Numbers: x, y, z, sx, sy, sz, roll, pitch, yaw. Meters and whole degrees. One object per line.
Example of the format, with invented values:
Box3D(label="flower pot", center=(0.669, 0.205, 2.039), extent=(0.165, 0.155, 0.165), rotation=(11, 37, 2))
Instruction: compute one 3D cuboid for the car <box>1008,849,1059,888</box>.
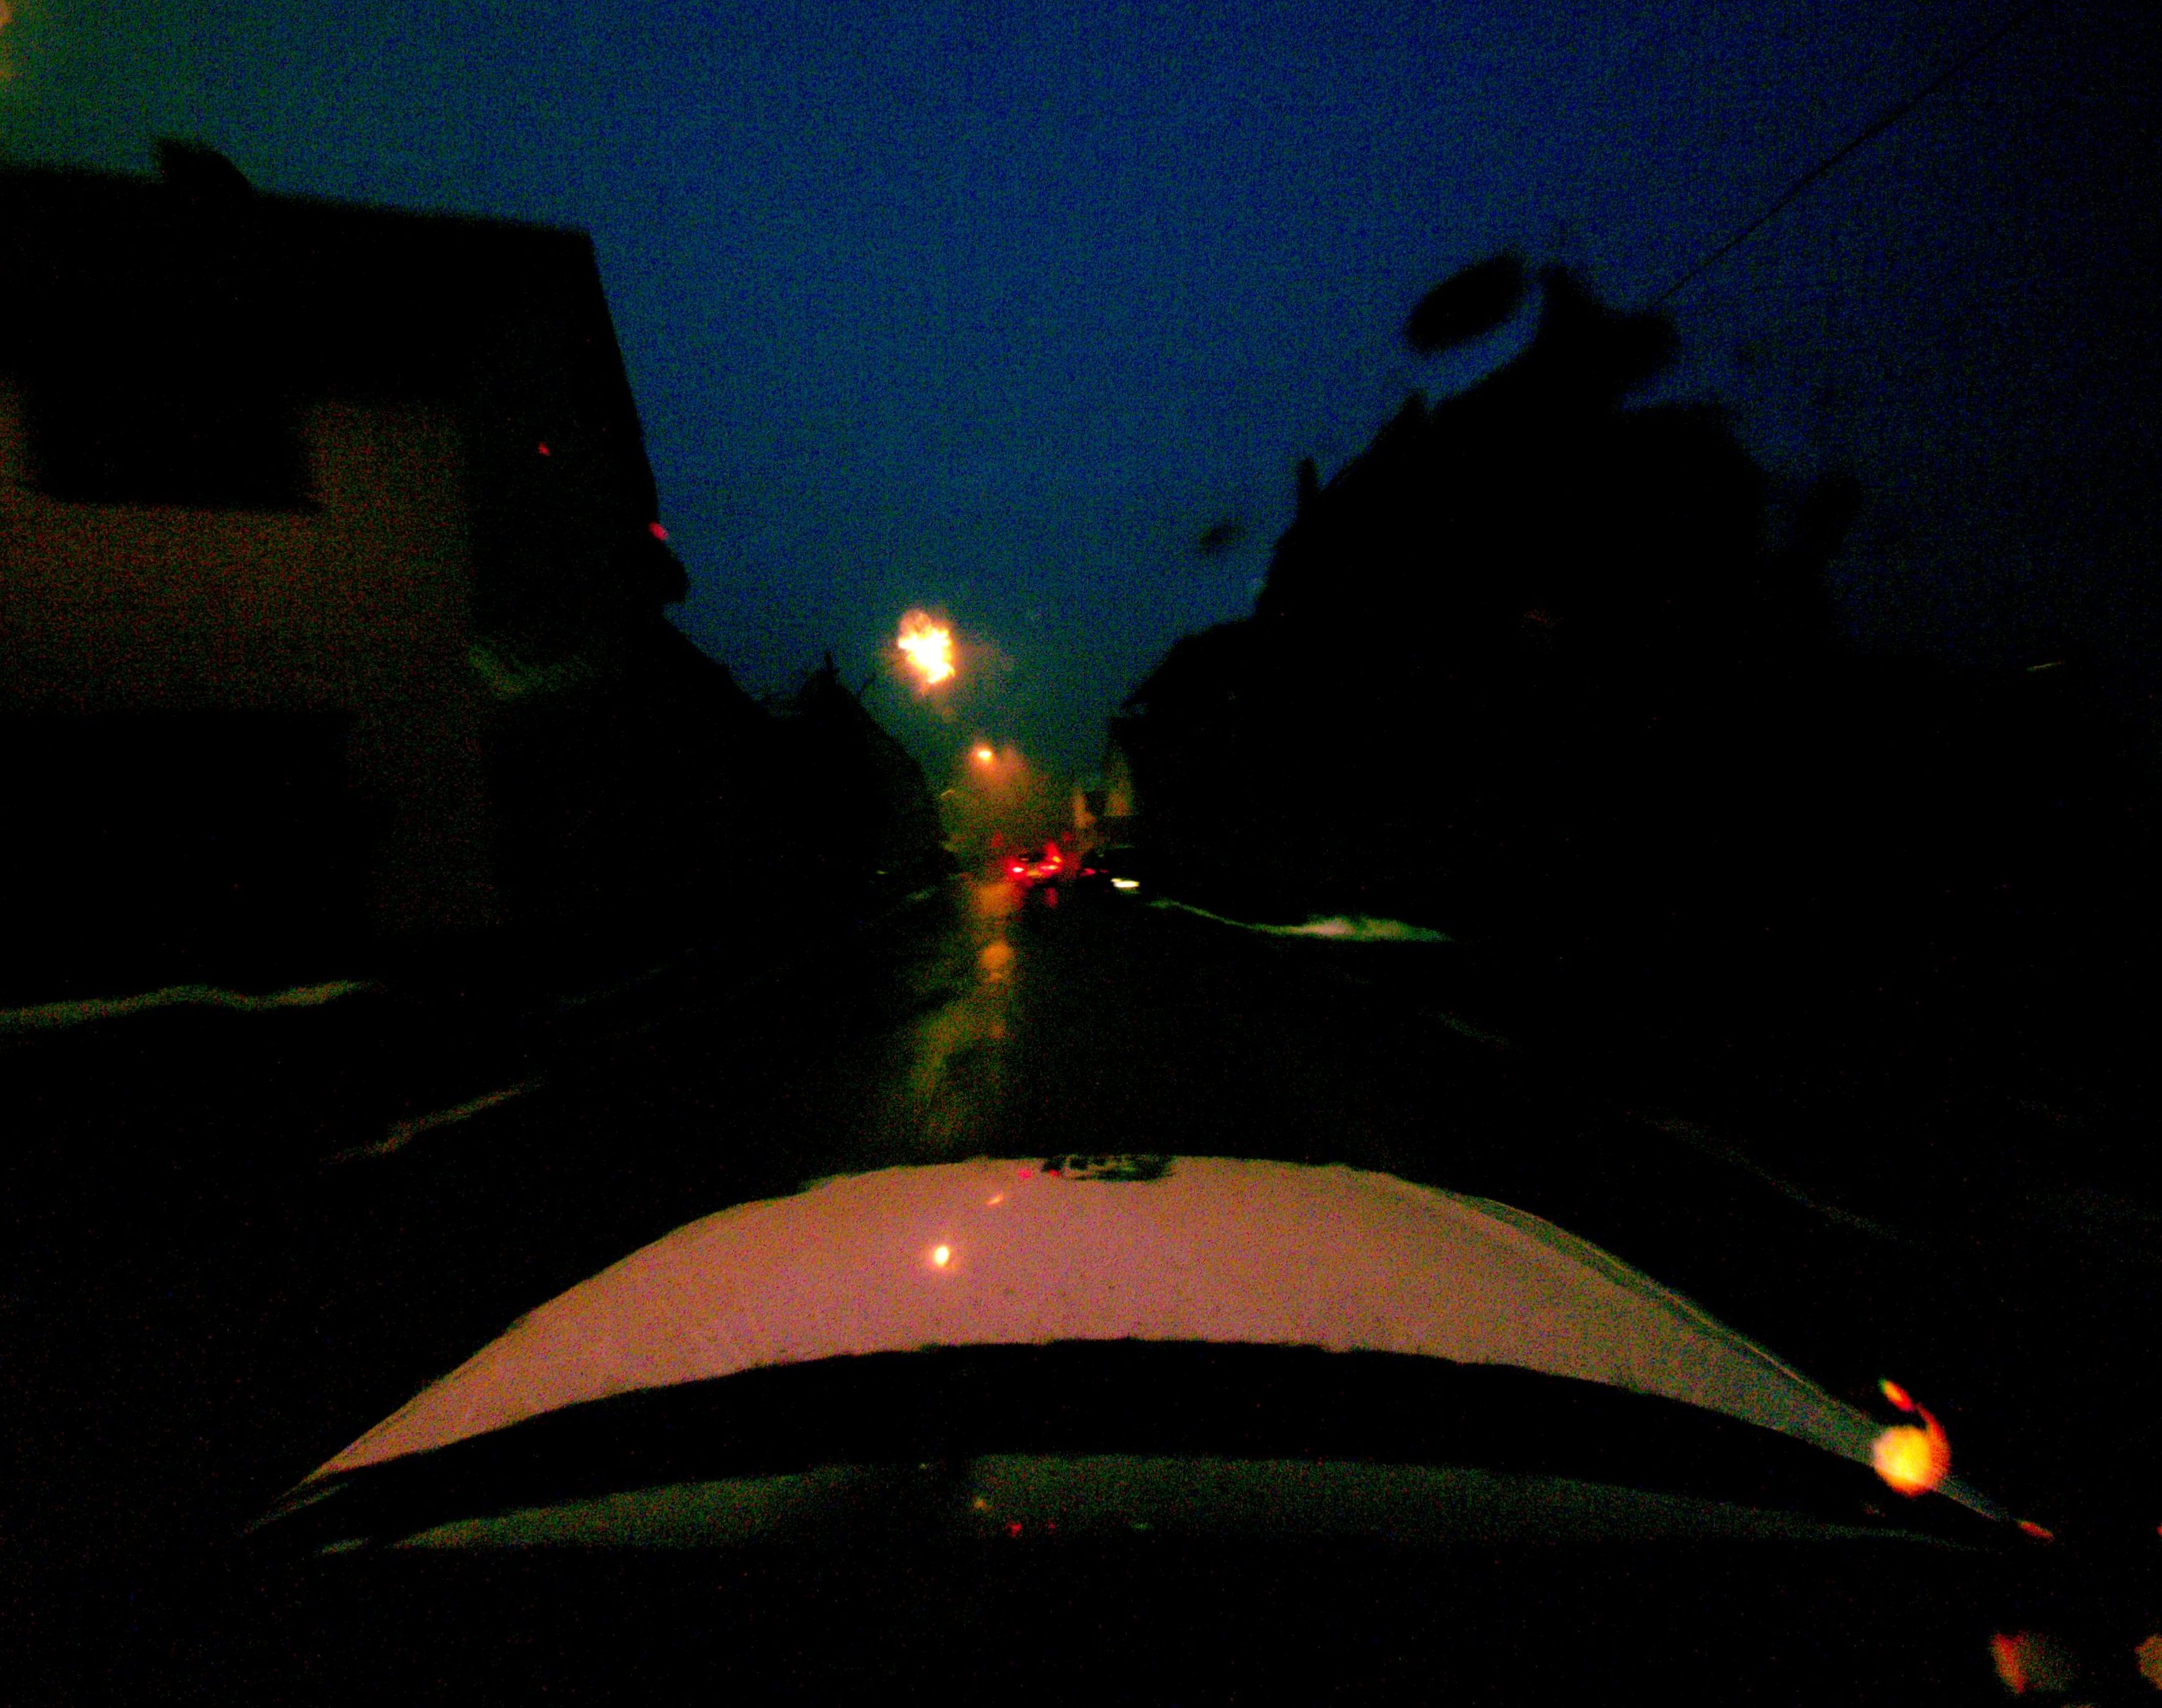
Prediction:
Box3D(label="car", center=(-1.930, 0.619, 34.128), extent=(1.988, 1.508, 3.997), rotation=(-1, -1, -2))

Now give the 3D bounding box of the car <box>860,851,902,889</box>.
Box3D(label="car", center=(-9.889, 0.765, 40.602), extent=(1.765, 1.736, 4.621), rotation=(2, -1, -11))

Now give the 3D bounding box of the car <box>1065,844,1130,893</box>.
Box3D(label="car", center=(0.498, 0.464, 28.301), extent=(1.906, 1.481, 4.277), rotation=(-3, 0, -3))

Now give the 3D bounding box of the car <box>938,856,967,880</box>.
Box3D(label="car", center=(-9.179, 0.986, 58.480), extent=(1.992, 1.522, 4.179), rotation=(-1, 2, -8))

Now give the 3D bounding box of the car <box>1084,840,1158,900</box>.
Box3D(label="car", center=(1.045, 0.408, 22.912), extent=(1.712, 1.499, 3.903), rotation=(-1, 0, -3))
